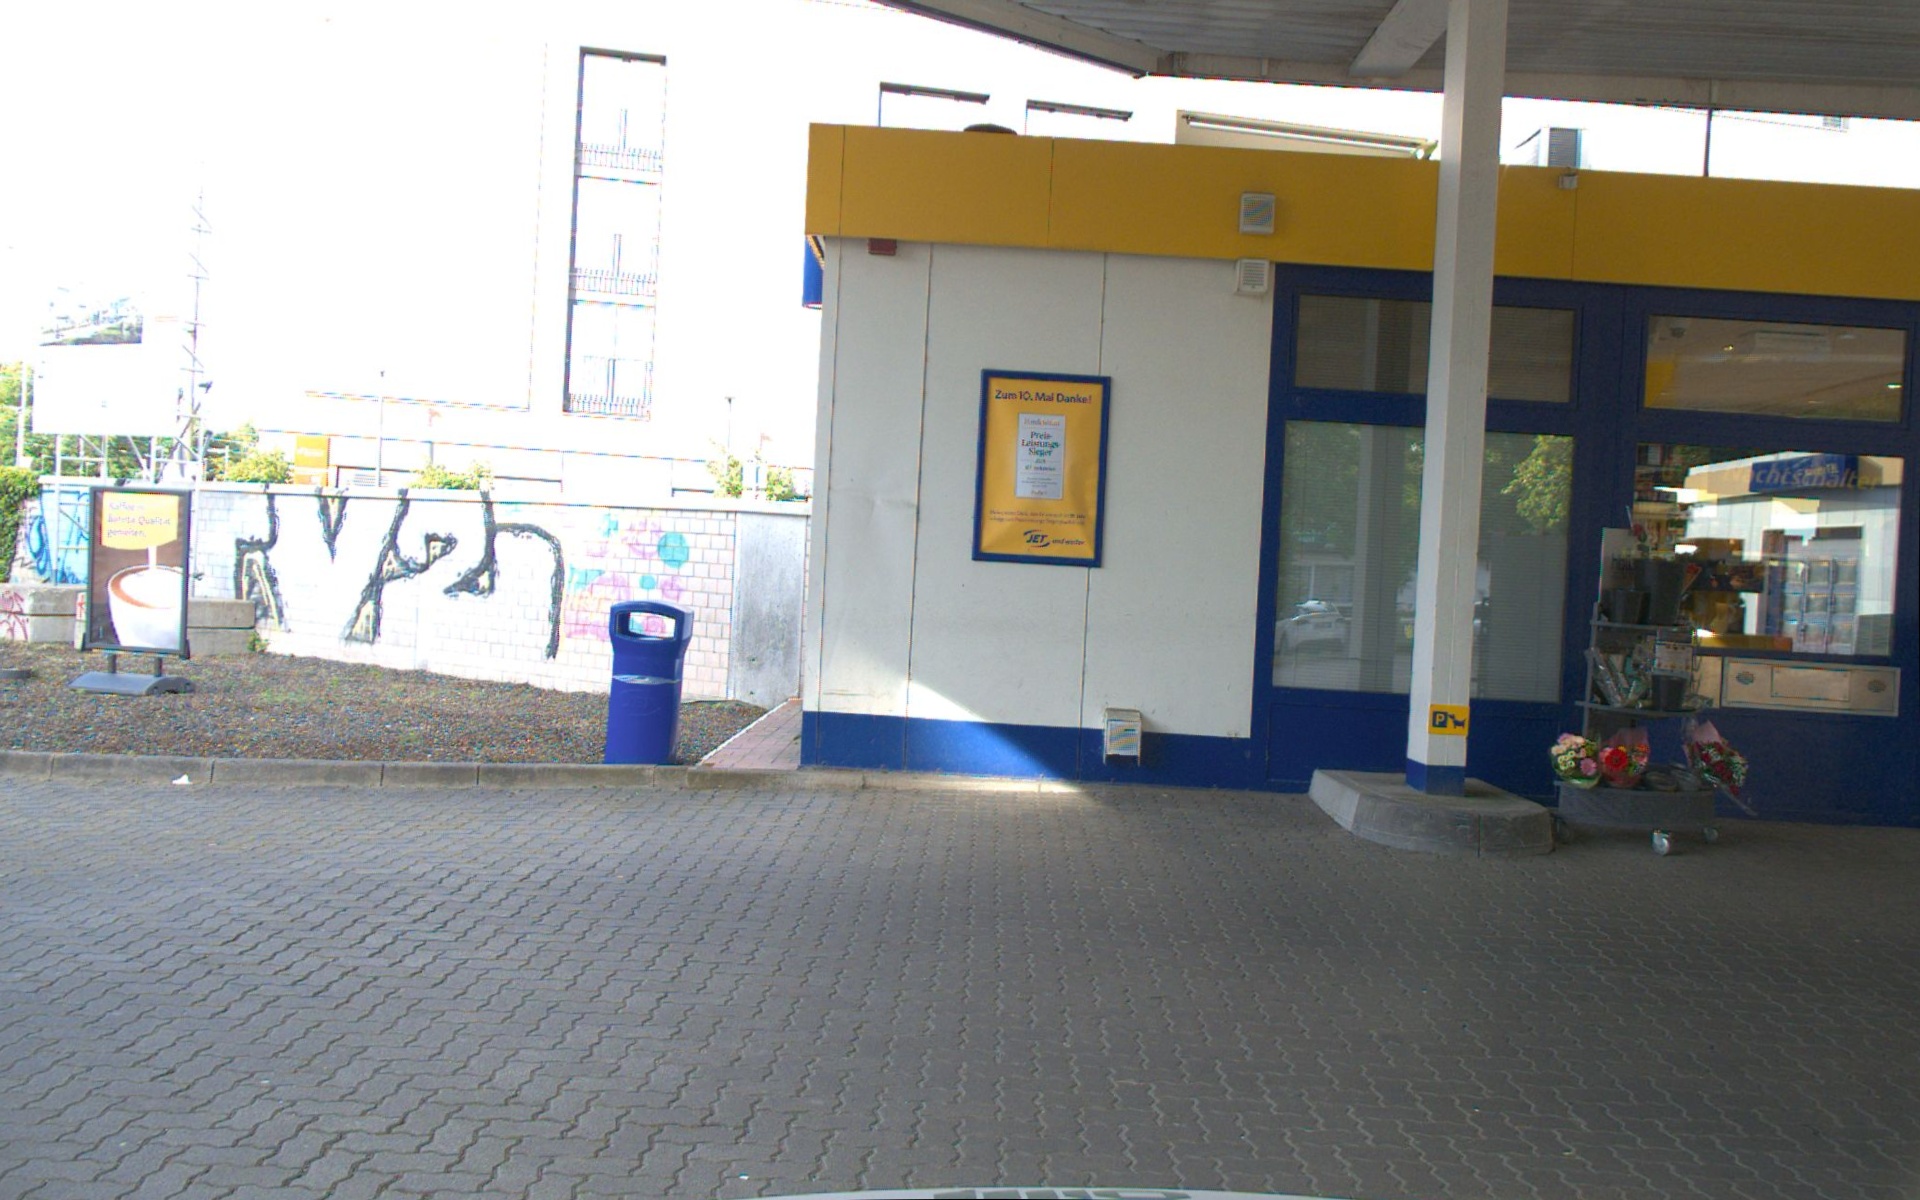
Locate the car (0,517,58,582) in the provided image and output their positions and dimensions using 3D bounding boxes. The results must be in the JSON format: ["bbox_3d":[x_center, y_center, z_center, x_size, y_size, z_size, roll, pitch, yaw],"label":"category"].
[{"bbox_3d":[-24.597,-1.350,42.366,1.736,1.569,4.112,4,1,-17],"label":"car"}]
